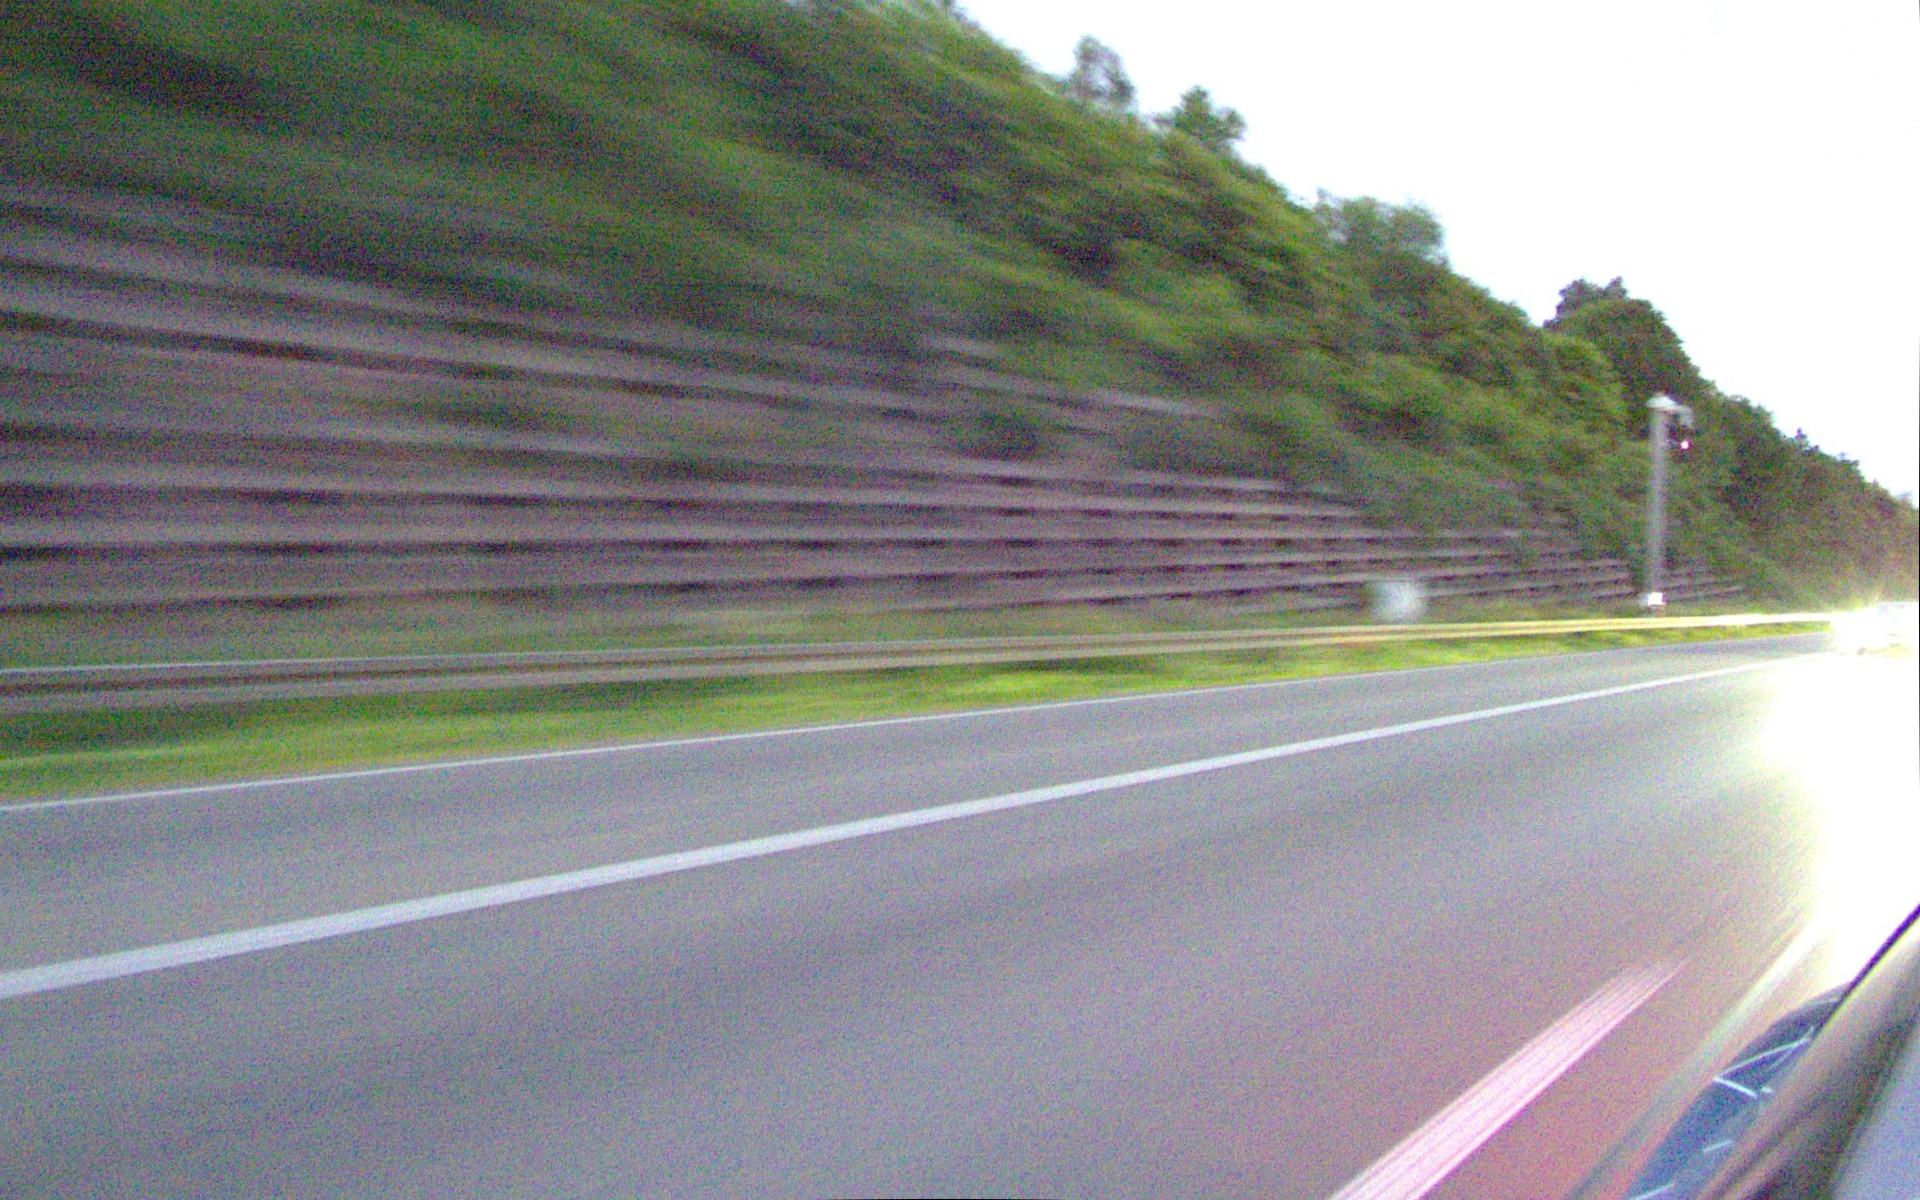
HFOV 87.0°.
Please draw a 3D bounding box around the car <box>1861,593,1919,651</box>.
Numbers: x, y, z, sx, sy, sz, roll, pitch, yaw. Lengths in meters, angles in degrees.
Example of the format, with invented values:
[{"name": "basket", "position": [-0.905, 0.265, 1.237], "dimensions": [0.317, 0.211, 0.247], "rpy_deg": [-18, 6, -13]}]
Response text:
[{"name": "car", "position": [25.649, 0.543, 27.054], "dimensions": [4.505, 1.454, 1.868], "rpy_deg": [-1, 1, -42]}]
